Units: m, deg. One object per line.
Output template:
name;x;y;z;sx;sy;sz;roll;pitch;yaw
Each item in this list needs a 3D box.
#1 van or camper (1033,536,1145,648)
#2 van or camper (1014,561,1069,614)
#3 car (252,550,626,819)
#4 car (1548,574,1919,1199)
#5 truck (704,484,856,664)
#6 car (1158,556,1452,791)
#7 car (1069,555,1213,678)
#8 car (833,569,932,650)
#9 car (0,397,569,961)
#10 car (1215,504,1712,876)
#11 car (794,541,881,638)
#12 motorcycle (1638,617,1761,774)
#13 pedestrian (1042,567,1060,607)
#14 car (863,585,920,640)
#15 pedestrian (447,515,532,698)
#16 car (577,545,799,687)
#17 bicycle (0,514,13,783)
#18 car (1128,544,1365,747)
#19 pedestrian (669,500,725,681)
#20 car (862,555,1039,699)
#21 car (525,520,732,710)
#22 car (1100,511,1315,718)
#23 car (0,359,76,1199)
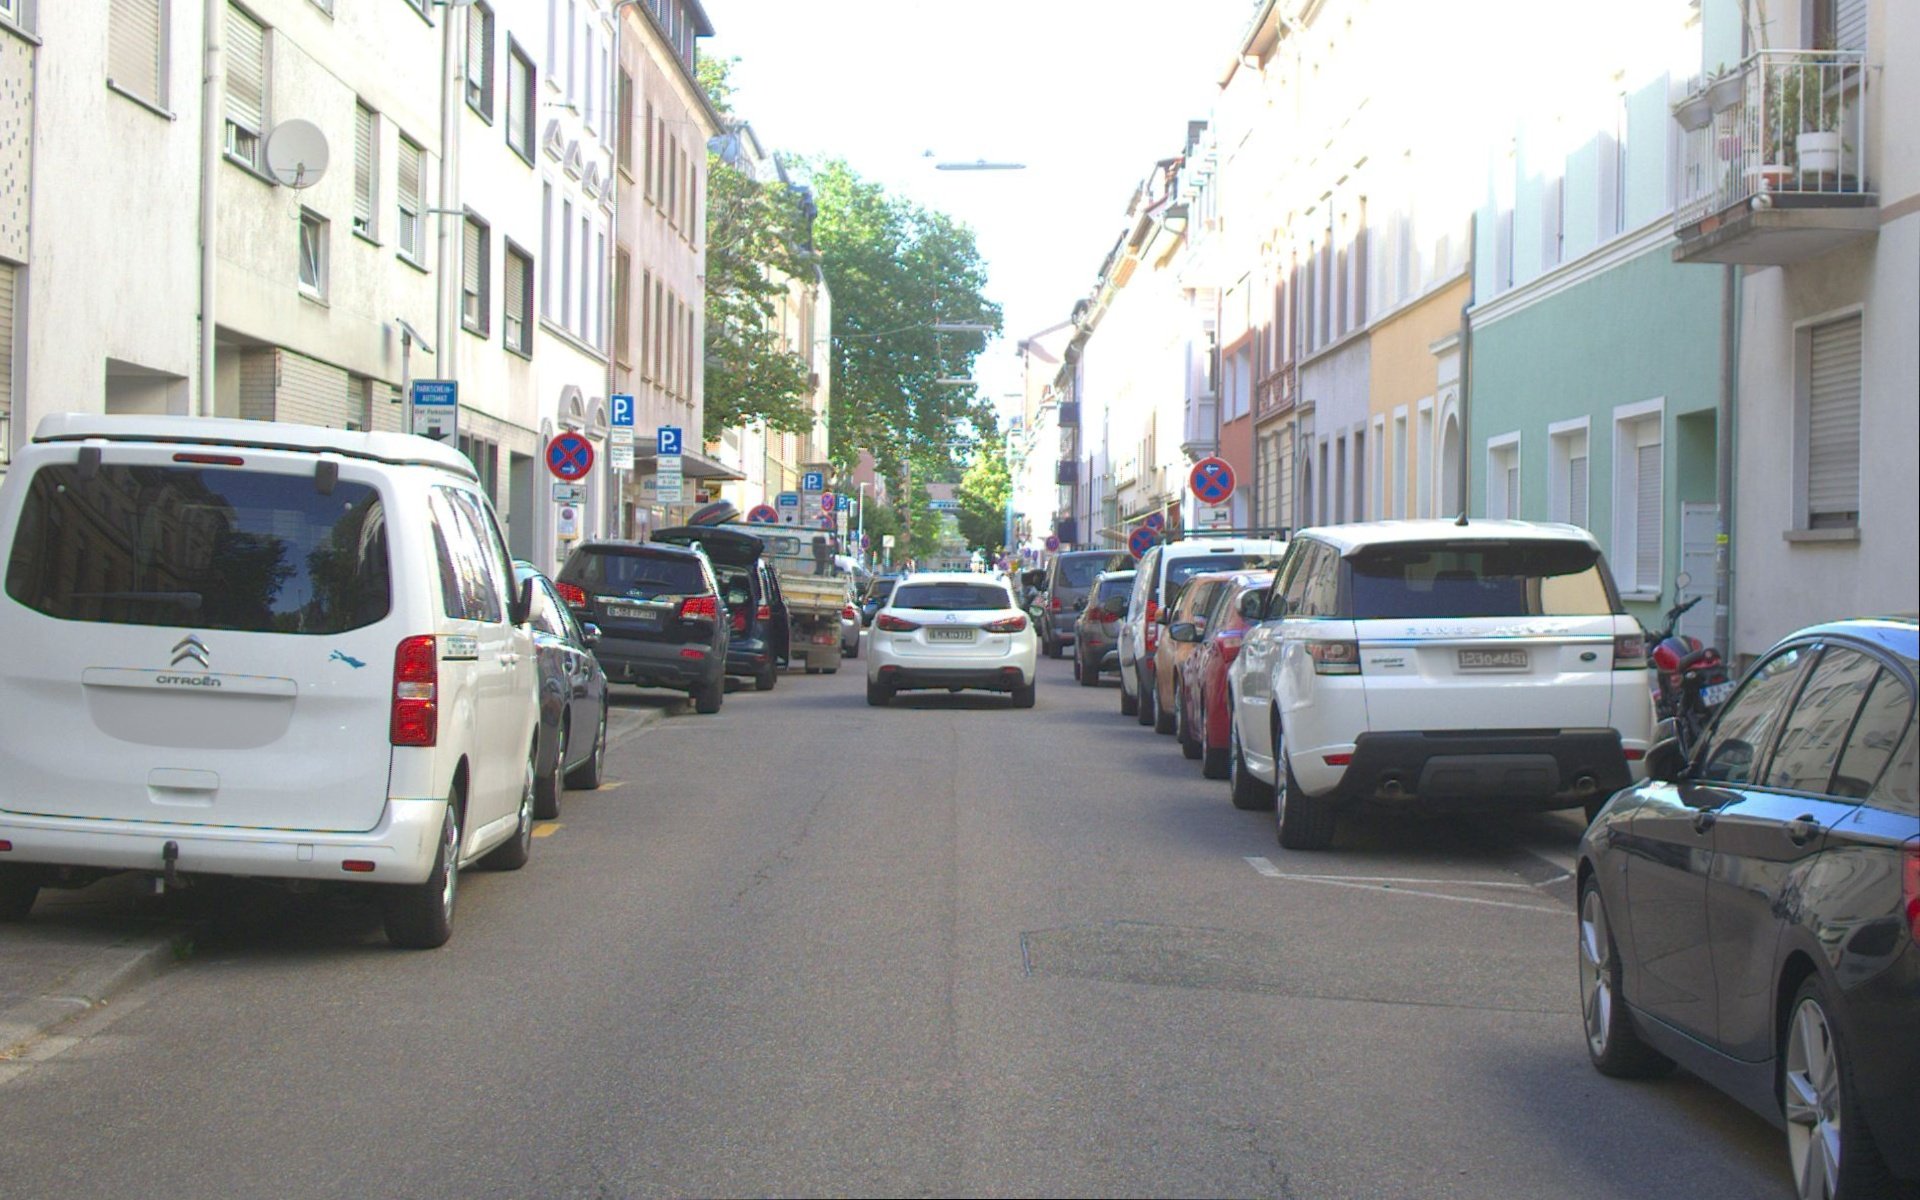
van or camper;2.406;-0.165;65.247;1.775;2.029;4.570;-1;0;-2
van or camper;3.015;-0.455;128.084;1.993;1.919;4.000;0;-1;0
car;-3.102;0.449;21.227;1.706;1.445;4.302;2;0;-1
car;2.730;0.720;8.701;1.746;1.443;3.870;3;1;0
truck;-2.825;-0.342;52.793;2.156;2.581;6.250;0;-1;-4
car;2.481;0.481;25.592;1.742;1.563;4.032;1;1;0
car;2.462;0.193;47.643;1.739;1.571;4.378;1;1;0
car;-1.433;0.151;63.981;1.758;1.411;4.000;-1;1;-1
car;-2.866;0.234;14.754;1.894;1.951;4.782;3;1;-2
car;2.626;0.390;19.149;2.005;1.777;4.939;1;1;0
car;-2.470;-0.225;68.905;1.647;1.861;4.000;1;0;-2
motorcycle;5.212;0.656;24.289;0.480;1.043;1.691;1;1;0
pedestrian;3.427;-0.489;129.404;0.627;1.459;0.575;0;-1;0
car;-2.076;0.368;104.977;1.625;1.592;3.580;2;0;0
pedestrian;-4.984;0.065;36.460;0.806;1.927;0.691;0;0;0
car;-3.478;0.165;45.057;2.441;1.700;5.242;1;1;0
bicycle;-5.566;0.270;18.367;0.557;1.504;1.800;2;0;-3
car;2.469;0.355;30.372;1.580;1.626;3.682;2;1;-2
pedestrian;-3.255;-0.116;42.571;0.619;2.221;0.688;0;-1;0
car;-0.064;0.267;38.050;1.834;1.481;4.057;1;0;1
car;-3.409;0.104;36.085;1.879;1.749;4.543;4;1;-3
car;2.462;0.128;35.096;1.782;1.955;4.336;1;0;-1
car;-2.913;0.397;5.655;1.744;1.870;4.090;4;1;0
